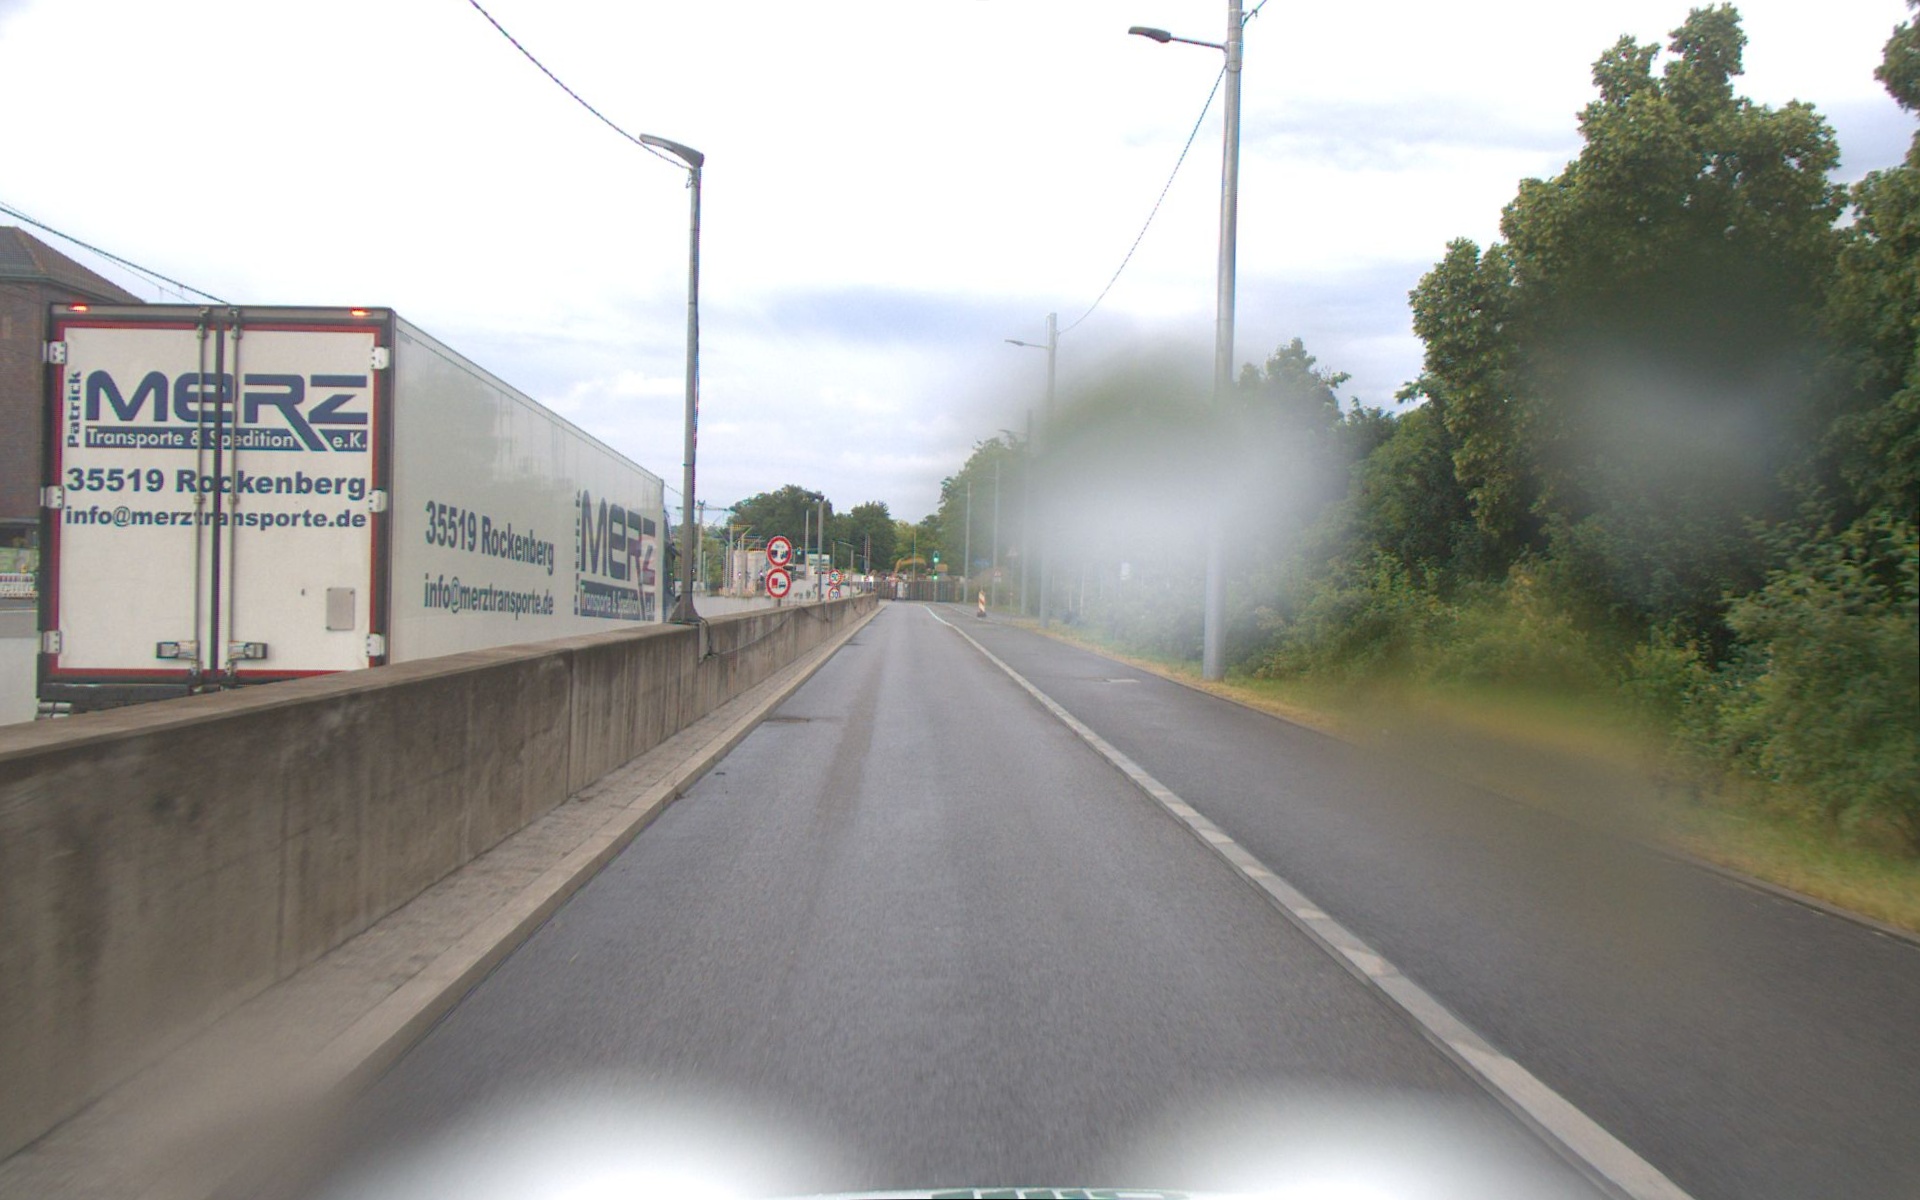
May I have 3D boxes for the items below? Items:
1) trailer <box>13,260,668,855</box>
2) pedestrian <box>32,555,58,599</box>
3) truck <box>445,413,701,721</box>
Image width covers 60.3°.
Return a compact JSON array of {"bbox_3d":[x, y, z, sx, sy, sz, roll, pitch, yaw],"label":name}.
[{"bbox_3d":[-5.672,-0.416,18.655,2.706,4.327,13.180,0,1,-1],"label":"trailer"},{"bbox_3d":[-37.684,-0.951,68.105,0.603,1.781,0.839,1,1,-2],"label":"pedestrian"},{"bbox_3d":[-5.873,-0.508,26.160,2.700,4.278,6.305,0,1,-2],"label":"truck"}]
